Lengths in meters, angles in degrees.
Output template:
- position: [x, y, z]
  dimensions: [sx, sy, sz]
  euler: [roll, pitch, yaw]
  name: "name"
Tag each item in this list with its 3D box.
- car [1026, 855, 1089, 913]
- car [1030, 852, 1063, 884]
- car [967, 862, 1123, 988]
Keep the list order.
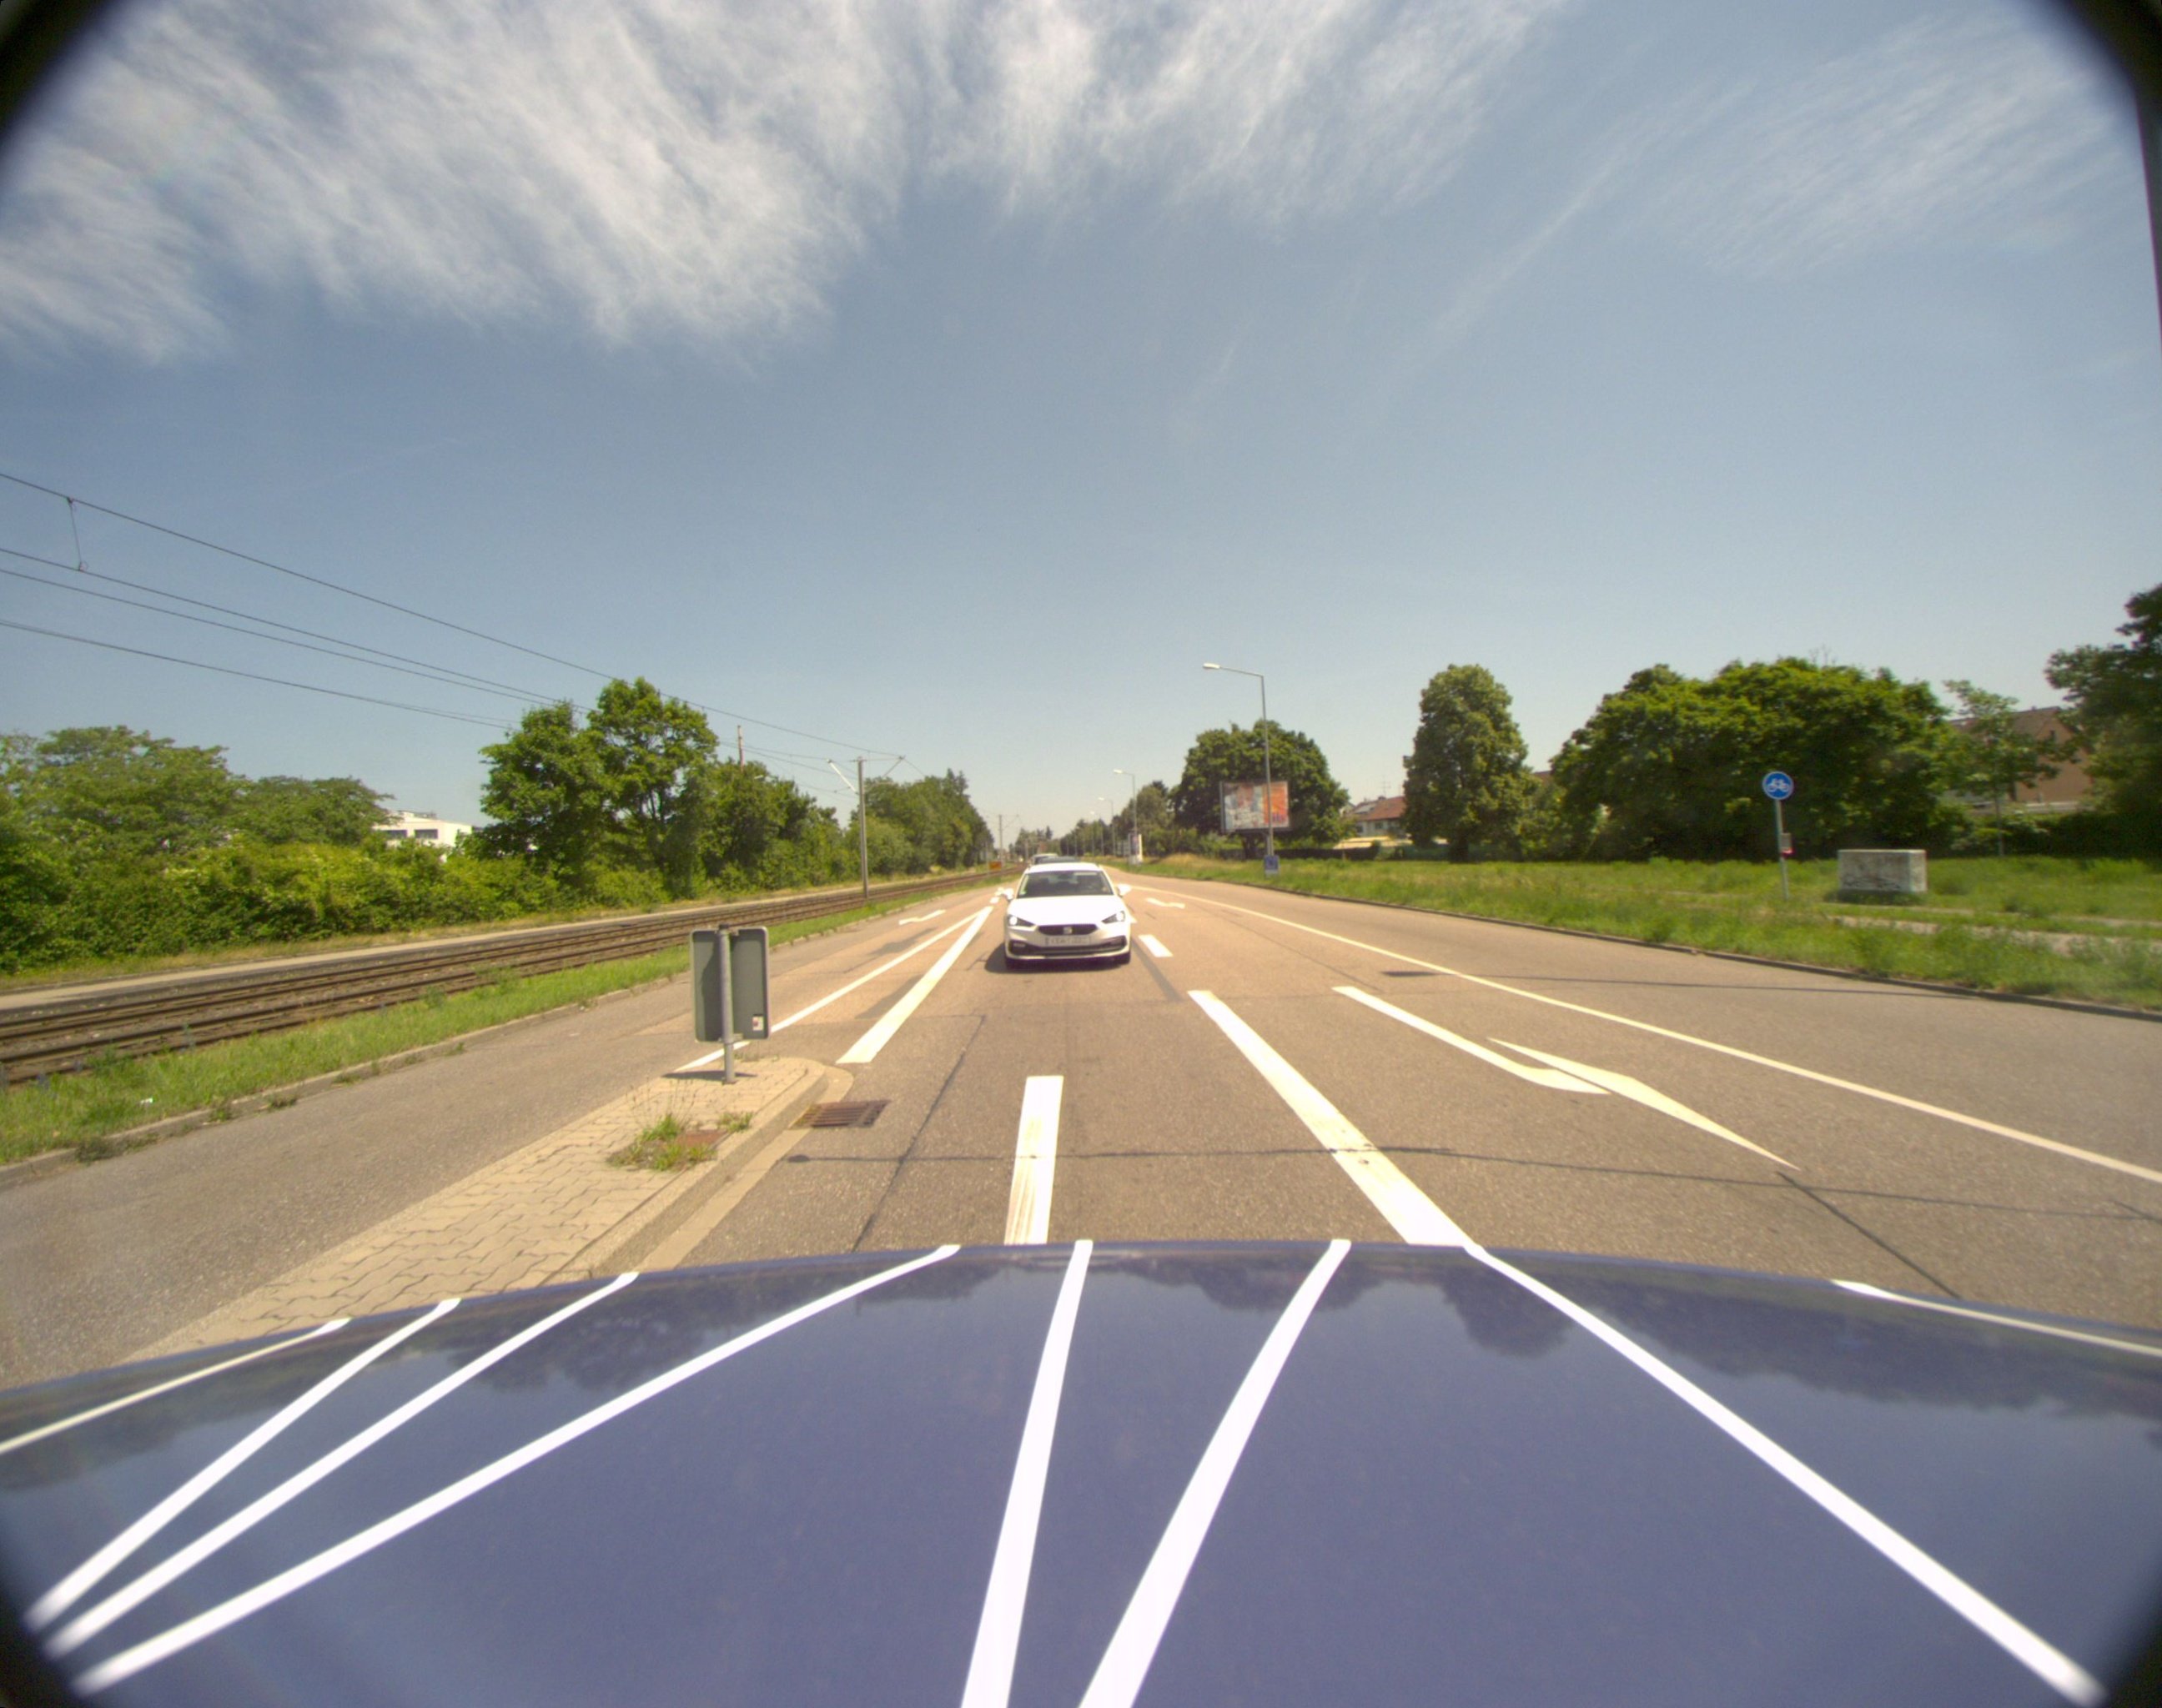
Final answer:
- position: [-0.672, 0.880, 24.362]
  dimensions: [1.780, 1.628, 4.000]
  euler: [-2, 0, 1]
  name: "car"
- position: [-2.129, 0.825, 47.847]
  dimensions: [1.780, 1.865, 4.000]
  euler: [-2, 0, 1]
  name: "car"
- position: [-0.392, 0.947, 12.031]
  dimensions: [1.954, 1.467, 4.362]
  euler: [-3, 0, 2]
  name: "car"
